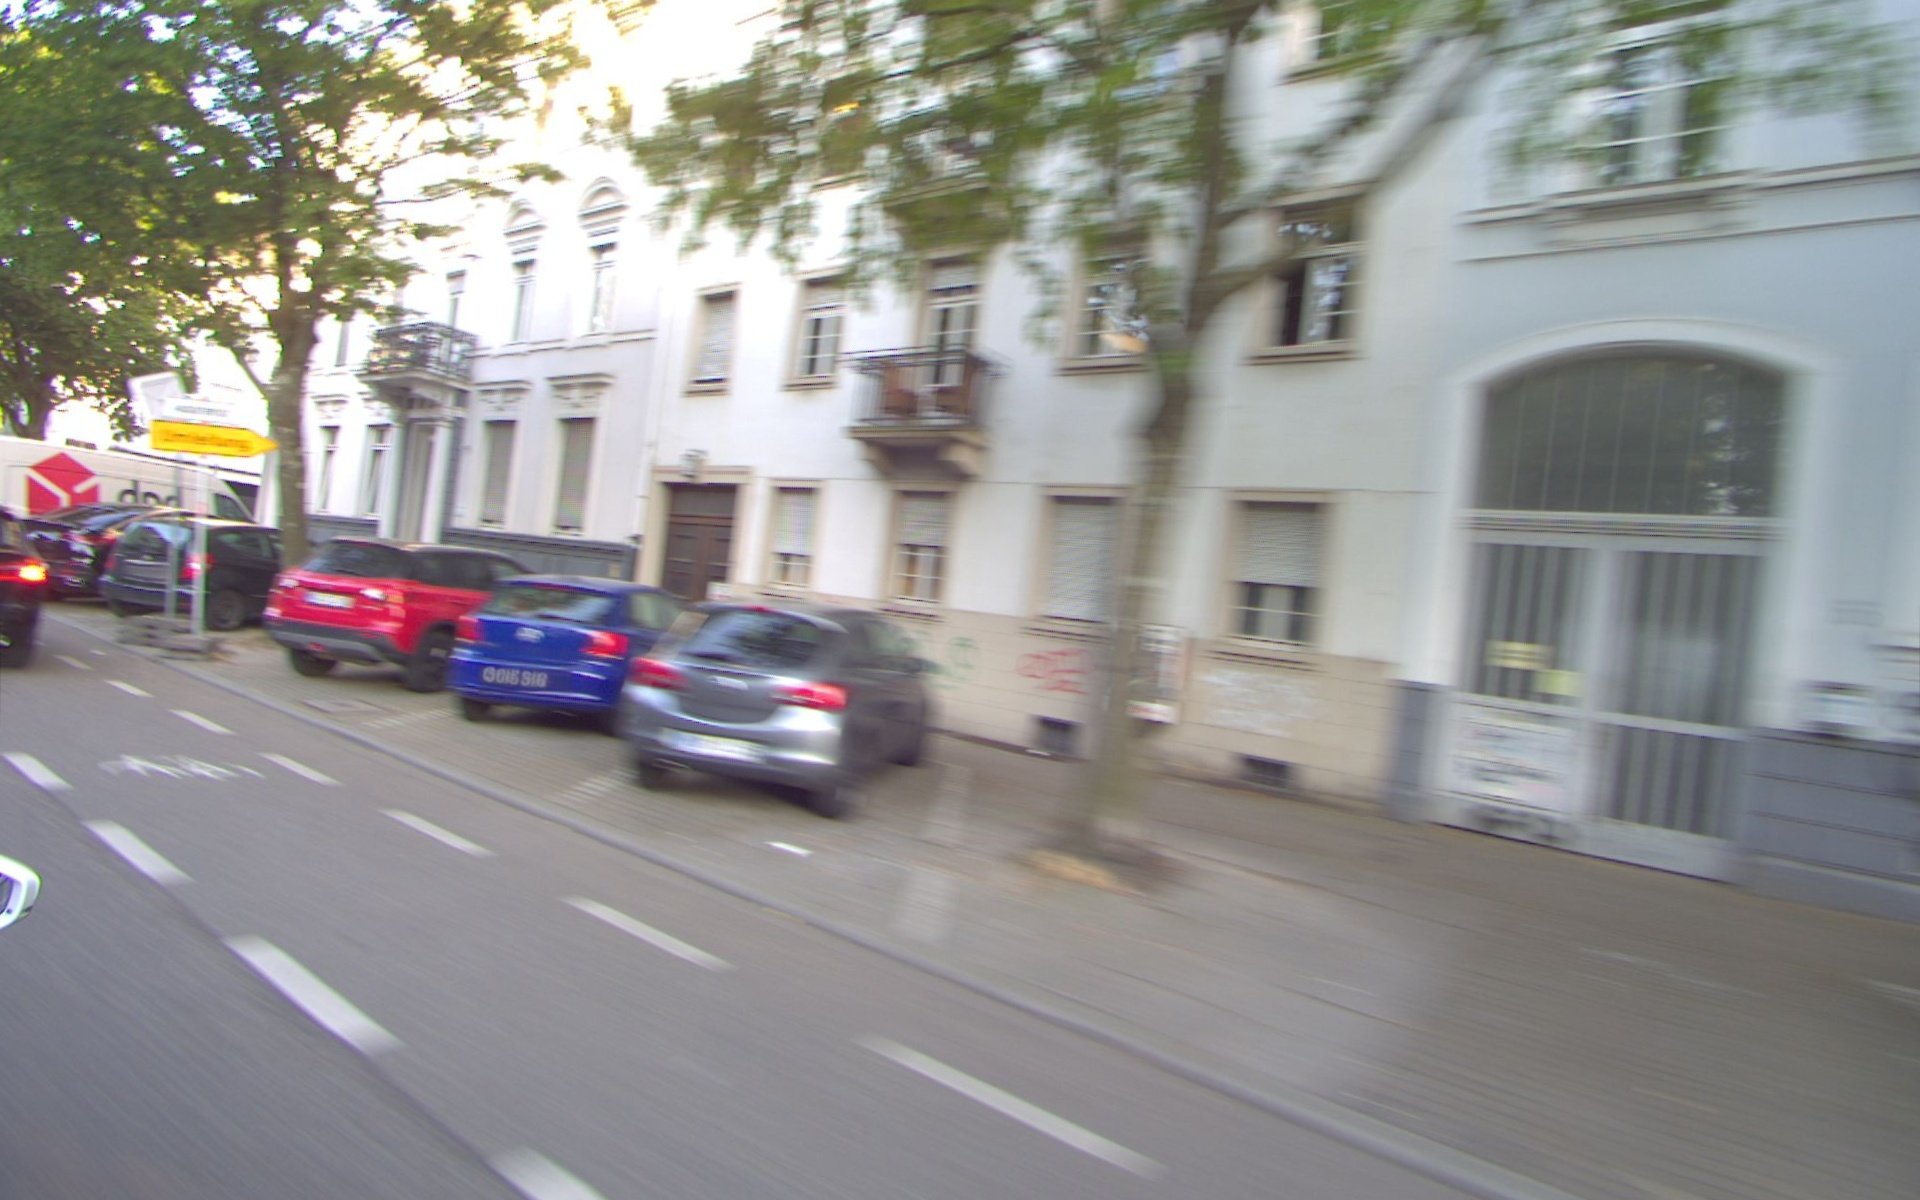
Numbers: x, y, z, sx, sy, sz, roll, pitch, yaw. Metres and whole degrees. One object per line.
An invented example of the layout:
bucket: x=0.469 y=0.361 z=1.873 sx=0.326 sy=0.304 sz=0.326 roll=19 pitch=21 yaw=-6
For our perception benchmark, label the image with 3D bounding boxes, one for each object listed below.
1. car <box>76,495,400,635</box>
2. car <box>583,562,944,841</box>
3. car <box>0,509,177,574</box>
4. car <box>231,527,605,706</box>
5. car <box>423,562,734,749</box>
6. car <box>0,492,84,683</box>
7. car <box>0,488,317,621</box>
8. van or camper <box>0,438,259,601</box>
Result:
car: x=-11.228 y=-0.495 z=16.042 sx=1.805 sy=1.788 sz=3.954 roll=6 pitch=1 yaw=11
car: x=-1.321 y=0.670 z=8.461 sx=1.805 sy=1.624 sz=3.955 roll=5 pitch=0 yaw=5
car: x=-21.771 y=-1.402 z=25.025 sx=1.624 sy=1.326 sz=3.777 roll=6 pitch=1 yaw=-2
car: x=-6.236 y=0.164 z=12.179 sx=1.805 sy=1.624 sz=3.954 roll=6 pitch=1 yaw=11
car: x=-3.733 y=0.508 z=10.563 sx=1.628 sy=1.463 sz=3.652 roll=6 pitch=0 yaw=2
car: x=-10.277 y=-0.374 z=9.627 sx=3.939 sy=1.637 sz=1.885 roll=7 pitch=-4 yaw=37
car: x=-13.198 y=-0.676 z=16.812 sx=1.805 sy=1.788 sz=3.954 roll=6 pitch=1 yaw=11
van or camper: x=-16.002 y=-1.390 z=18.473 sx=2.047 sy=2.563 sz=5.547 roll=6 pitch=1 yaw=3
